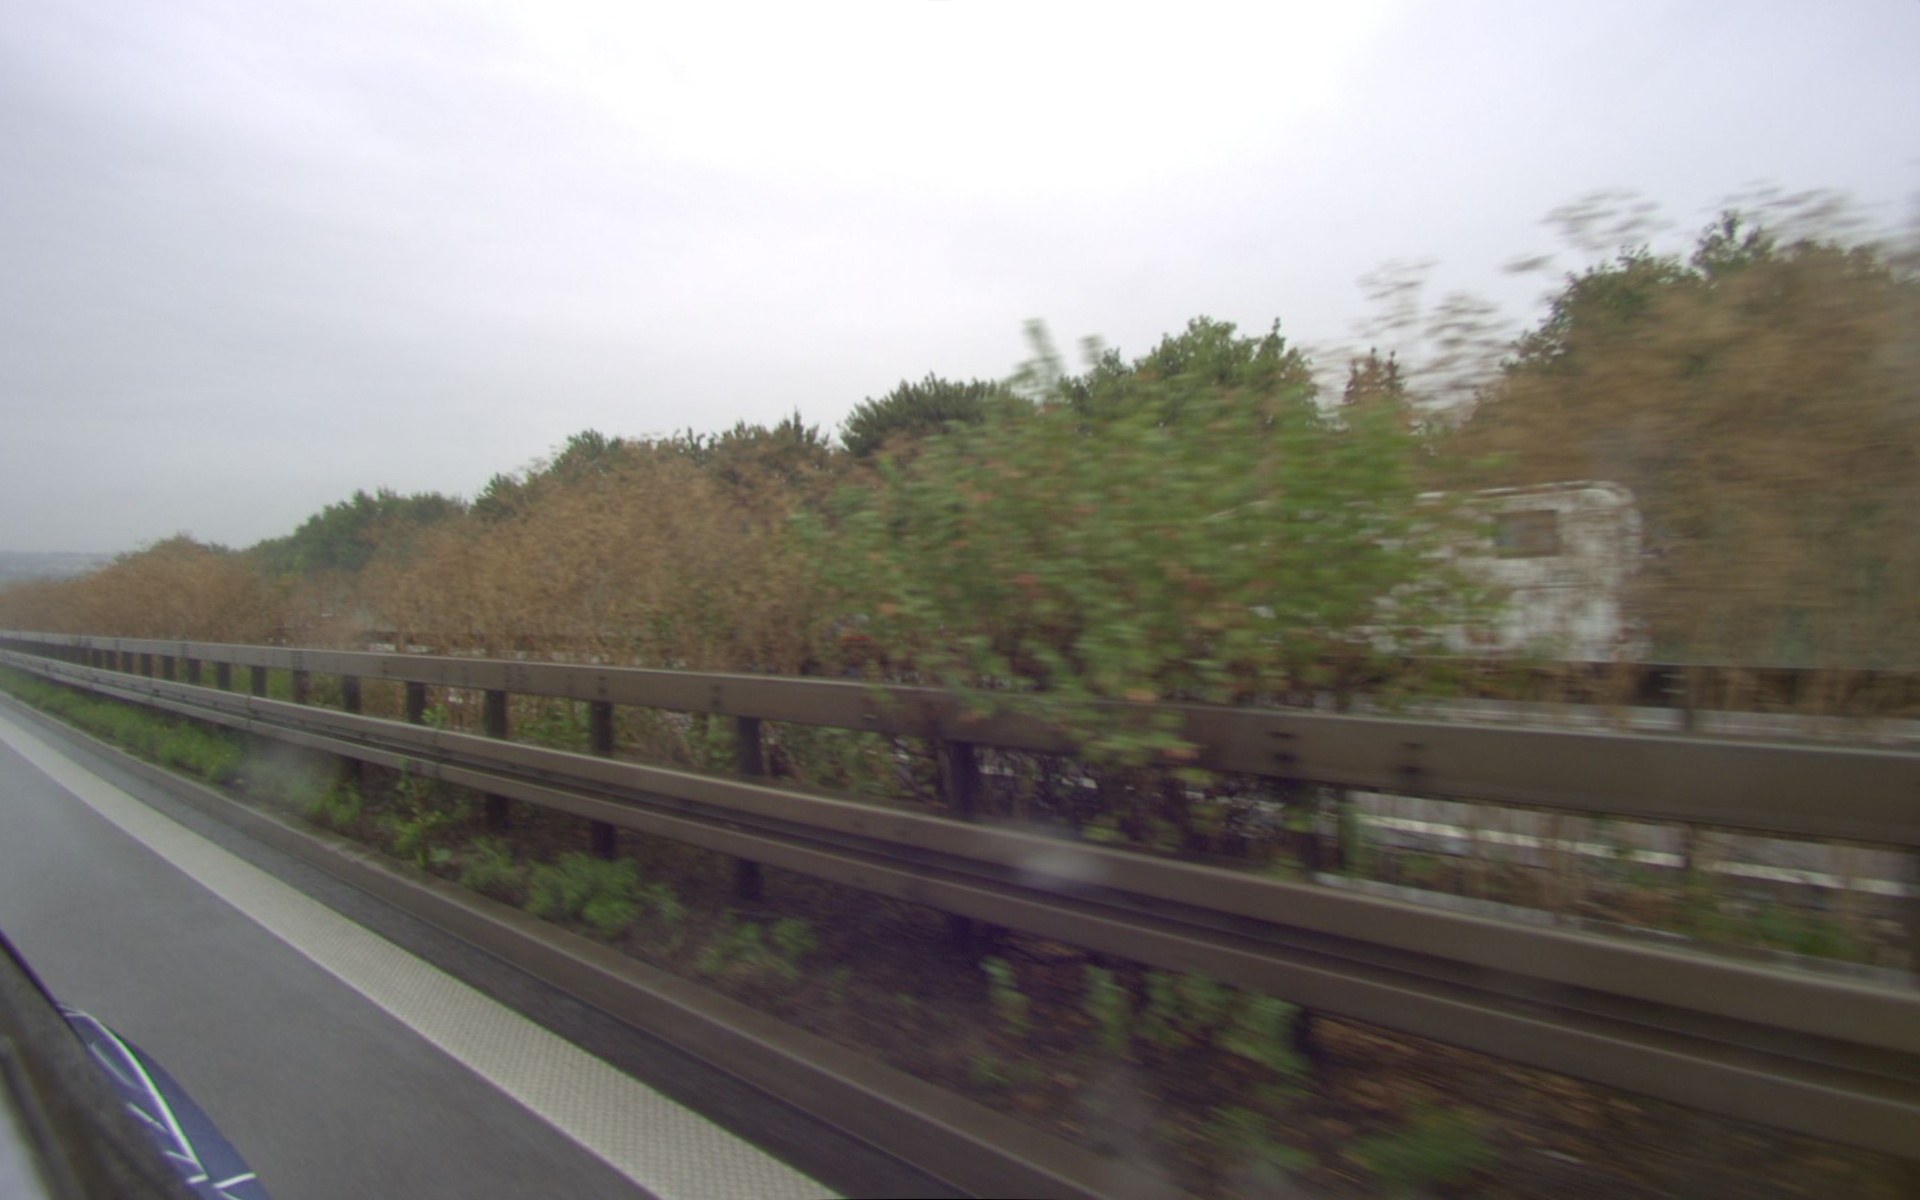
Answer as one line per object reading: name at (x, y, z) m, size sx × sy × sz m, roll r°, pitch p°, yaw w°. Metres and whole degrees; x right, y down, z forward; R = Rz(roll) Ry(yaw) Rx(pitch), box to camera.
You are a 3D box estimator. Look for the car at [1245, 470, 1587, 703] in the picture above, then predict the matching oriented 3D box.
car at (6.896, -0.147, 15.577) m, size 4.416 × 3.078 × 1.973 m, roll -1°, pitch -1°, yaw 41°
